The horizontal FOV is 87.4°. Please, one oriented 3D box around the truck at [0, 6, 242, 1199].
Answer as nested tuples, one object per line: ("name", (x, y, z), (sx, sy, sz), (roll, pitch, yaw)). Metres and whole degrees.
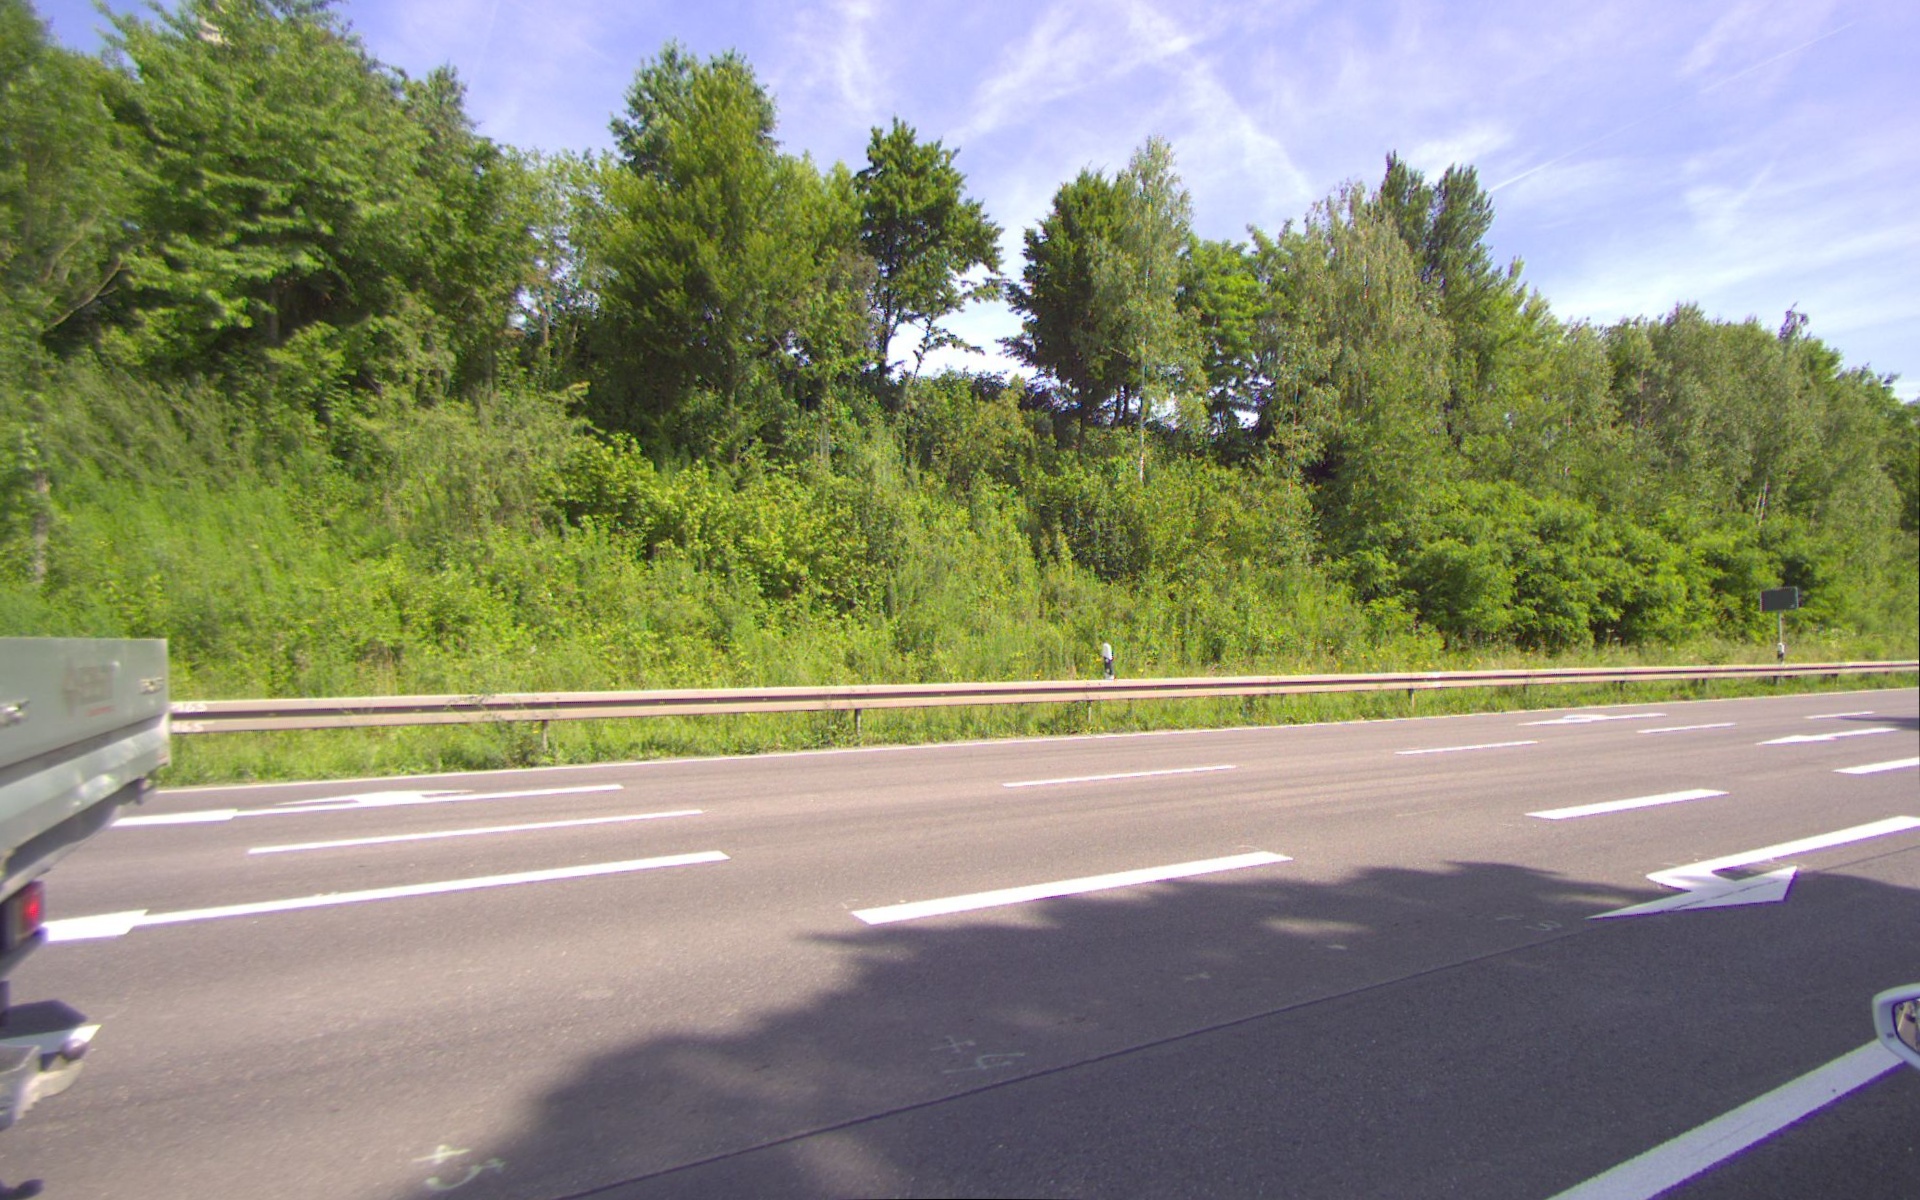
("truck", (-4.682, 0.225, 0.781), (6.423, 2.297, 2.217), (2, -2, -30))
